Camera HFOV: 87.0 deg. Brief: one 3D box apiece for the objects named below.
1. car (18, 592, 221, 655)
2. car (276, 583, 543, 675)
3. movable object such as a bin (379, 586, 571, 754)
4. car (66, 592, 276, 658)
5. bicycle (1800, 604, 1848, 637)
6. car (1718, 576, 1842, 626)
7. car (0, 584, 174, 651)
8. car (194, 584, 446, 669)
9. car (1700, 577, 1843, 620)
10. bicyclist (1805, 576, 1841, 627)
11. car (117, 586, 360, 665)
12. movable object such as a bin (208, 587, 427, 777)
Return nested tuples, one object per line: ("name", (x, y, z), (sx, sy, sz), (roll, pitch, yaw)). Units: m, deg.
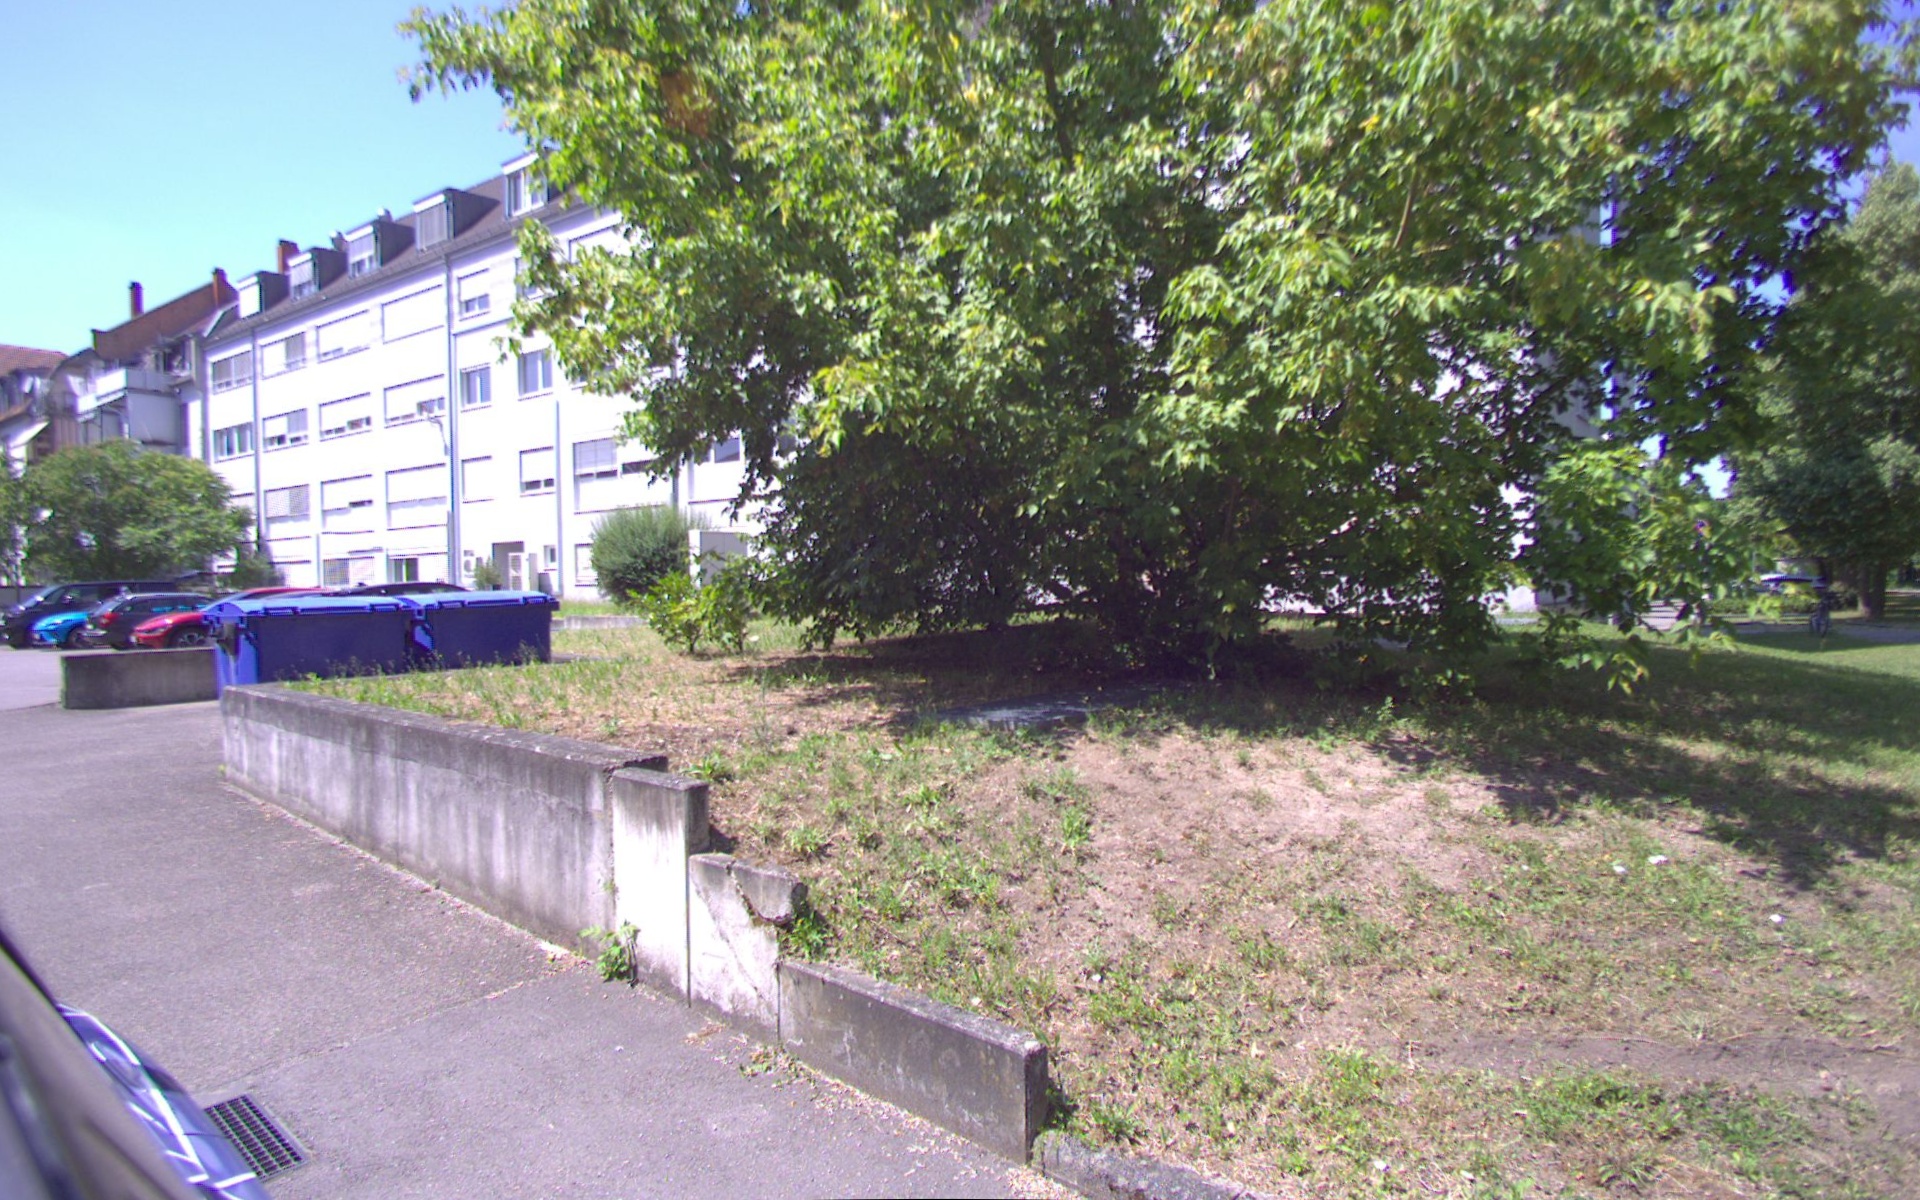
("car", (-23.781, 0.601, 28.779), (1.610, 1.580, 4.174), (0, 1, 35))
("car", (-10.687, 0.471, 19.972), (1.610, 1.580, 4.393), (0, 1, 35))
("movable object such as a bin", (-4.441, 0.573, 9.291), (1.095, 1.399, 1.255), (0, 1, 41))
("car", (-21.088, 0.594, 27.225), (1.610, 1.580, 4.174), (0, 1, 35))
("bicycle", (18.518, 0.432, 21.682), (0.734, 0.646, 1.594), (-3, -1, 42))
("car", (34.589, -0.002, 42.826), (3.996, 2.029, 1.974), (0, 1, 39))
("car", (-26.389, 0.462, 30.245), (2.005, 1.837, 4.174), (0, 1, 35))
("car", (-13.227, 0.465, 21.162), (1.610, 1.580, 4.174), (0, 1, 35))
("car", (32.045, -0.085, 40.097), (4.337, 1.622, 1.909), (0, 1, 39))
("bicyclist", (18.532, 0.029, 21.724), (0.518, 1.053, 0.515), (-4, -2, 43))
("car", (-16.135, 0.486, 22.843), (1.610, 1.580, 4.174), (0, 1, 35))
("movable object such as a bin", (-5.256, 0.595, 8.301), (1.095, 1.399, 1.255), (0, 1, 41))
